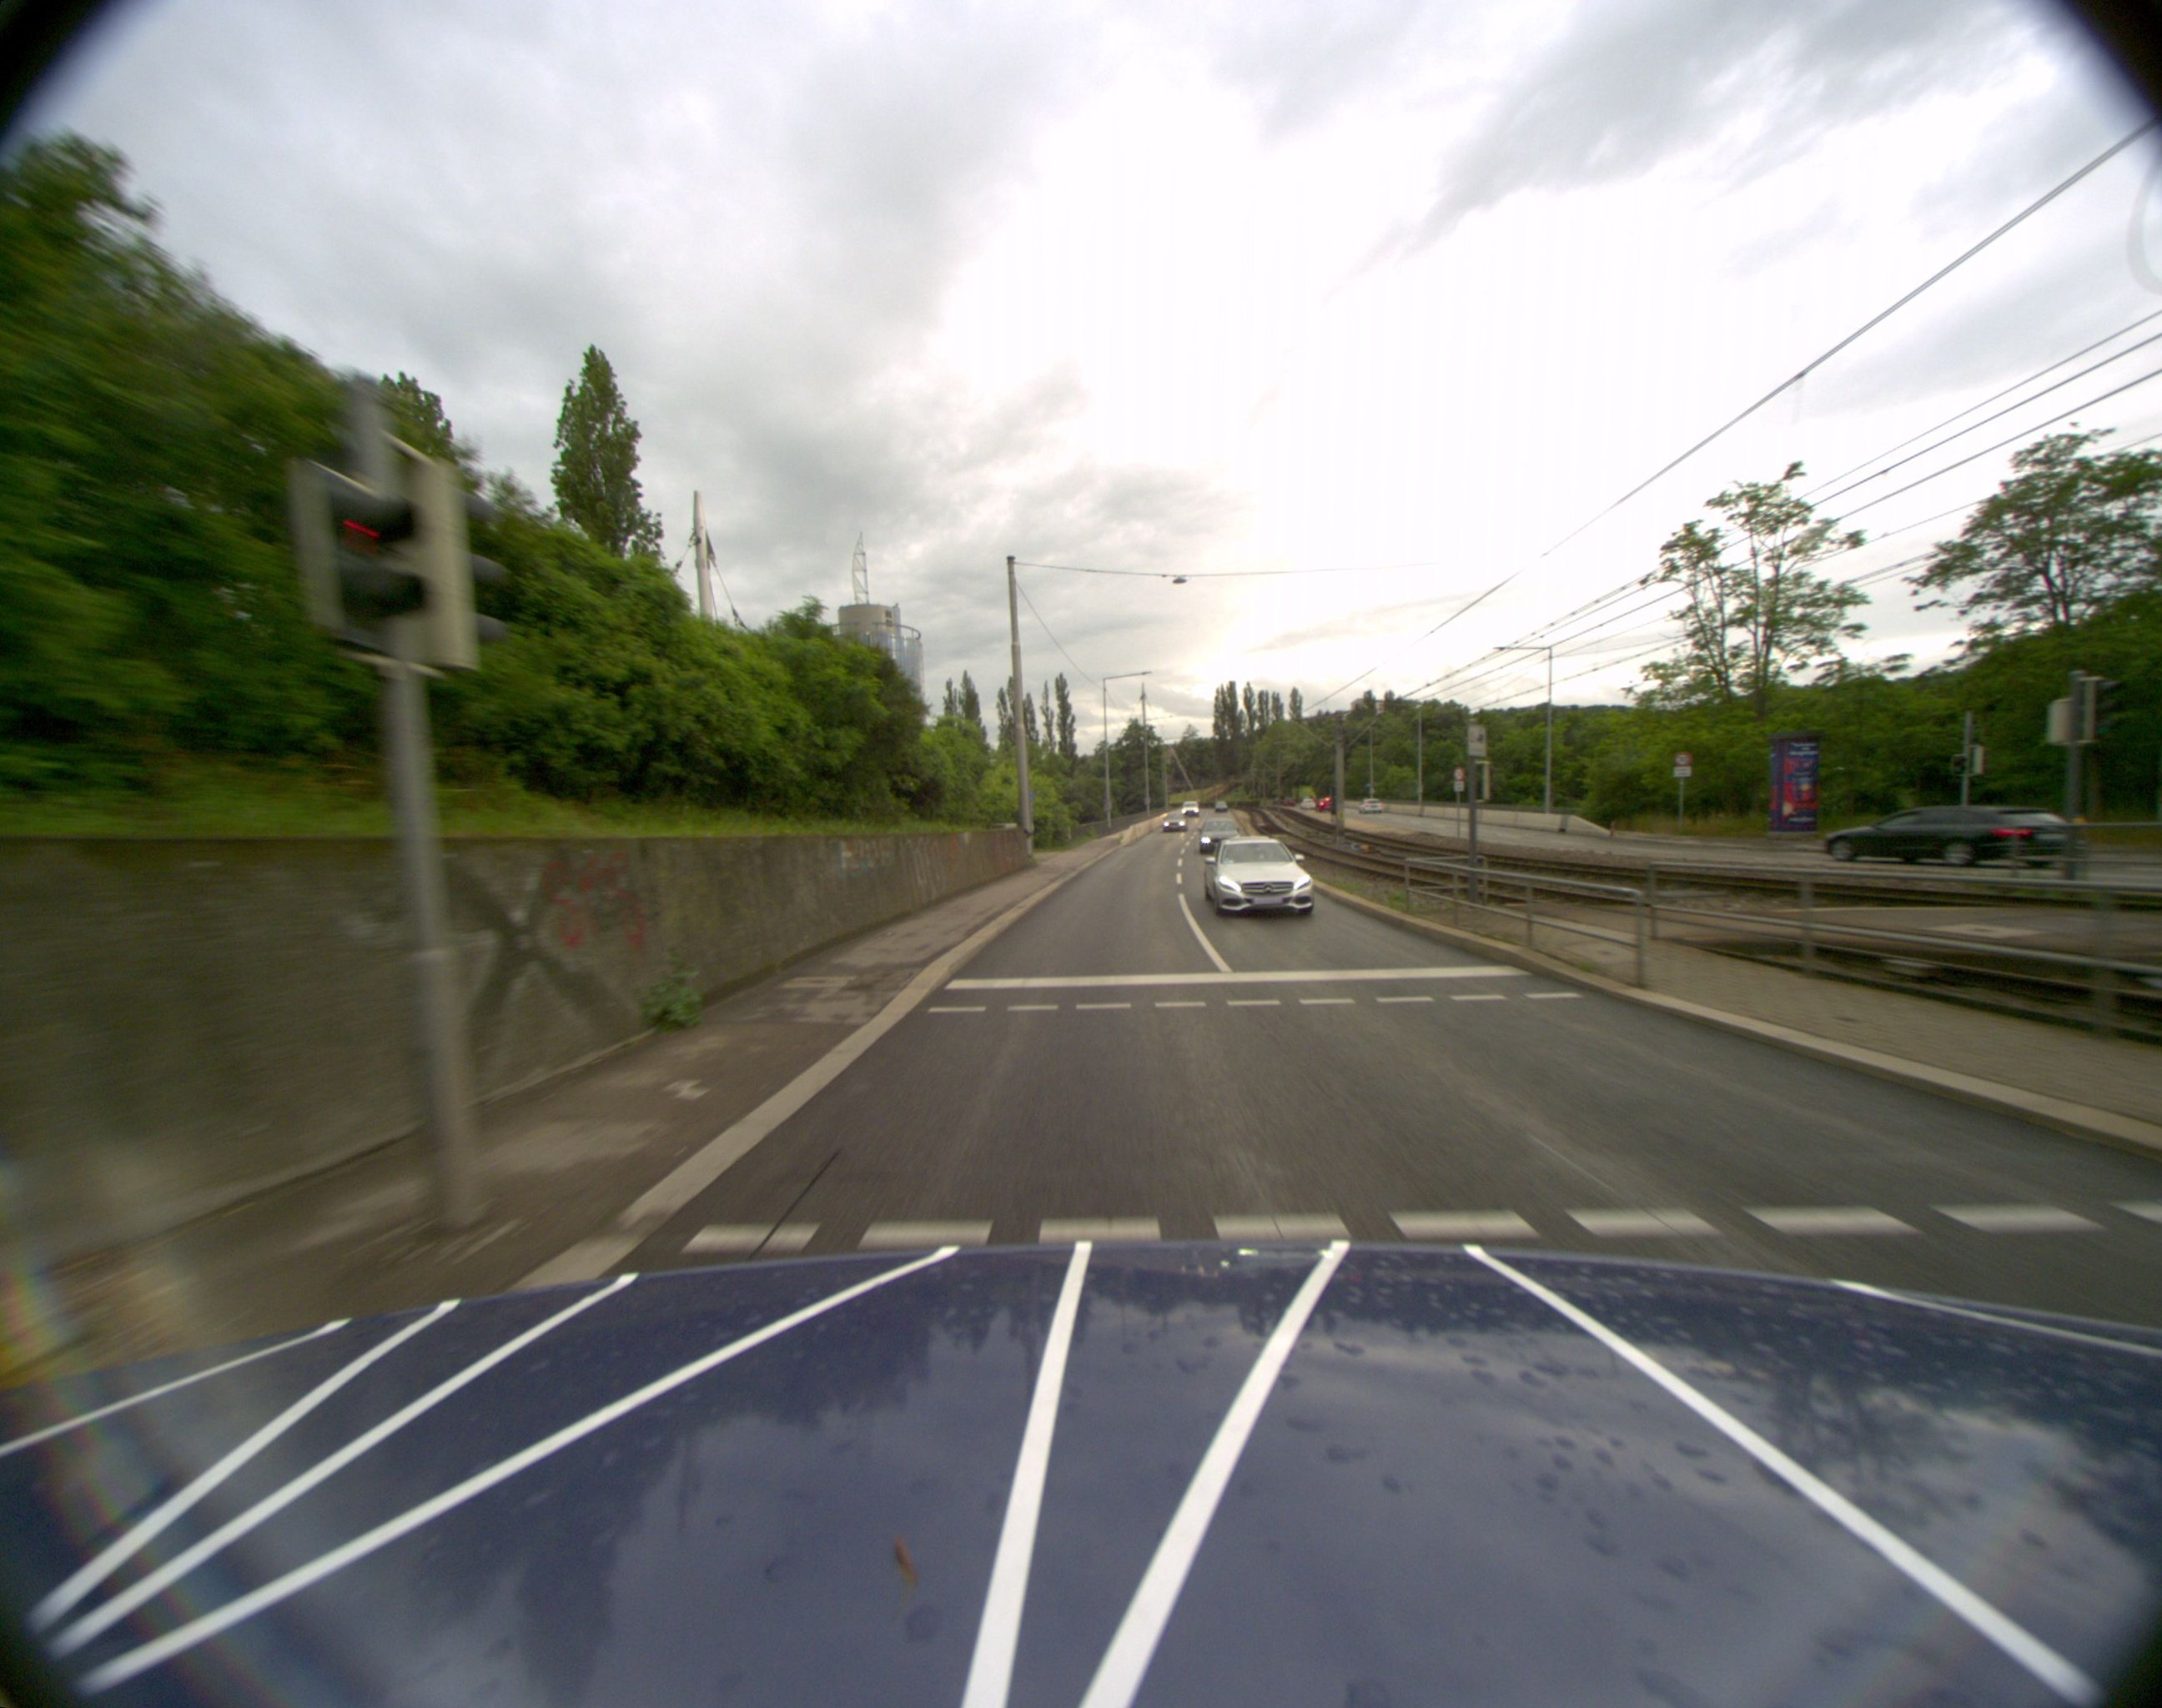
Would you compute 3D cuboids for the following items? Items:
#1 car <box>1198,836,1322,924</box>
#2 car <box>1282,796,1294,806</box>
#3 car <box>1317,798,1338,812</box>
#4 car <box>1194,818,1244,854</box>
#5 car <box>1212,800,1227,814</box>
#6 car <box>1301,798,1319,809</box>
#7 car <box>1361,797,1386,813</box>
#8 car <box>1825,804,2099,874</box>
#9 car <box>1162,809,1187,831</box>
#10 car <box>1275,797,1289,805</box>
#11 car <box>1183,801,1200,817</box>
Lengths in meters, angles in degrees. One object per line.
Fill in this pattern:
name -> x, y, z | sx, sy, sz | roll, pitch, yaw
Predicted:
car -> 3.524, 0.434, 15.687 | 1.871, 1.348, 4.059 | -3, 3, 5
car -> 34.426, -8.787, 126.418 | 1.603, 1.486, 3.016 | -1, 6, 7
car -> 29.357, -5.824, 90.653 | 1.851, 1.589, 4.733 | 0, 4, 12
car -> 6.091, -0.850, 33.932 | 1.735, 1.345, 3.998 | -2, 5, 4
car -> 19.888, -6.740, 109.166 | 1.767, 1.806, 4.000 | -3, 2, 6
car -> 31.661, -6.986, 105.119 | 1.733, 1.430, 4.490 | -1, 5, 7
car -> 30.762, -5.170, 79.951 | 1.824, 1.507, 4.529 | -1, 5, 13
car -> 20.910, -0.387, 18.377 | 1.720, 1.450, 4.274 | -2, 2, 1
car -> 7.004, -2.558, 56.916 | 1.767, 1.493, 3.999 | -2, 4, 7
car -> 38.951, -10.386, 147.592 | 1.820, 1.429, 4.739 | -2, 4, 5
car -> 13.544, -5.574, 93.338 | 1.767, 1.807, 3.998 | -3, 5, 6
